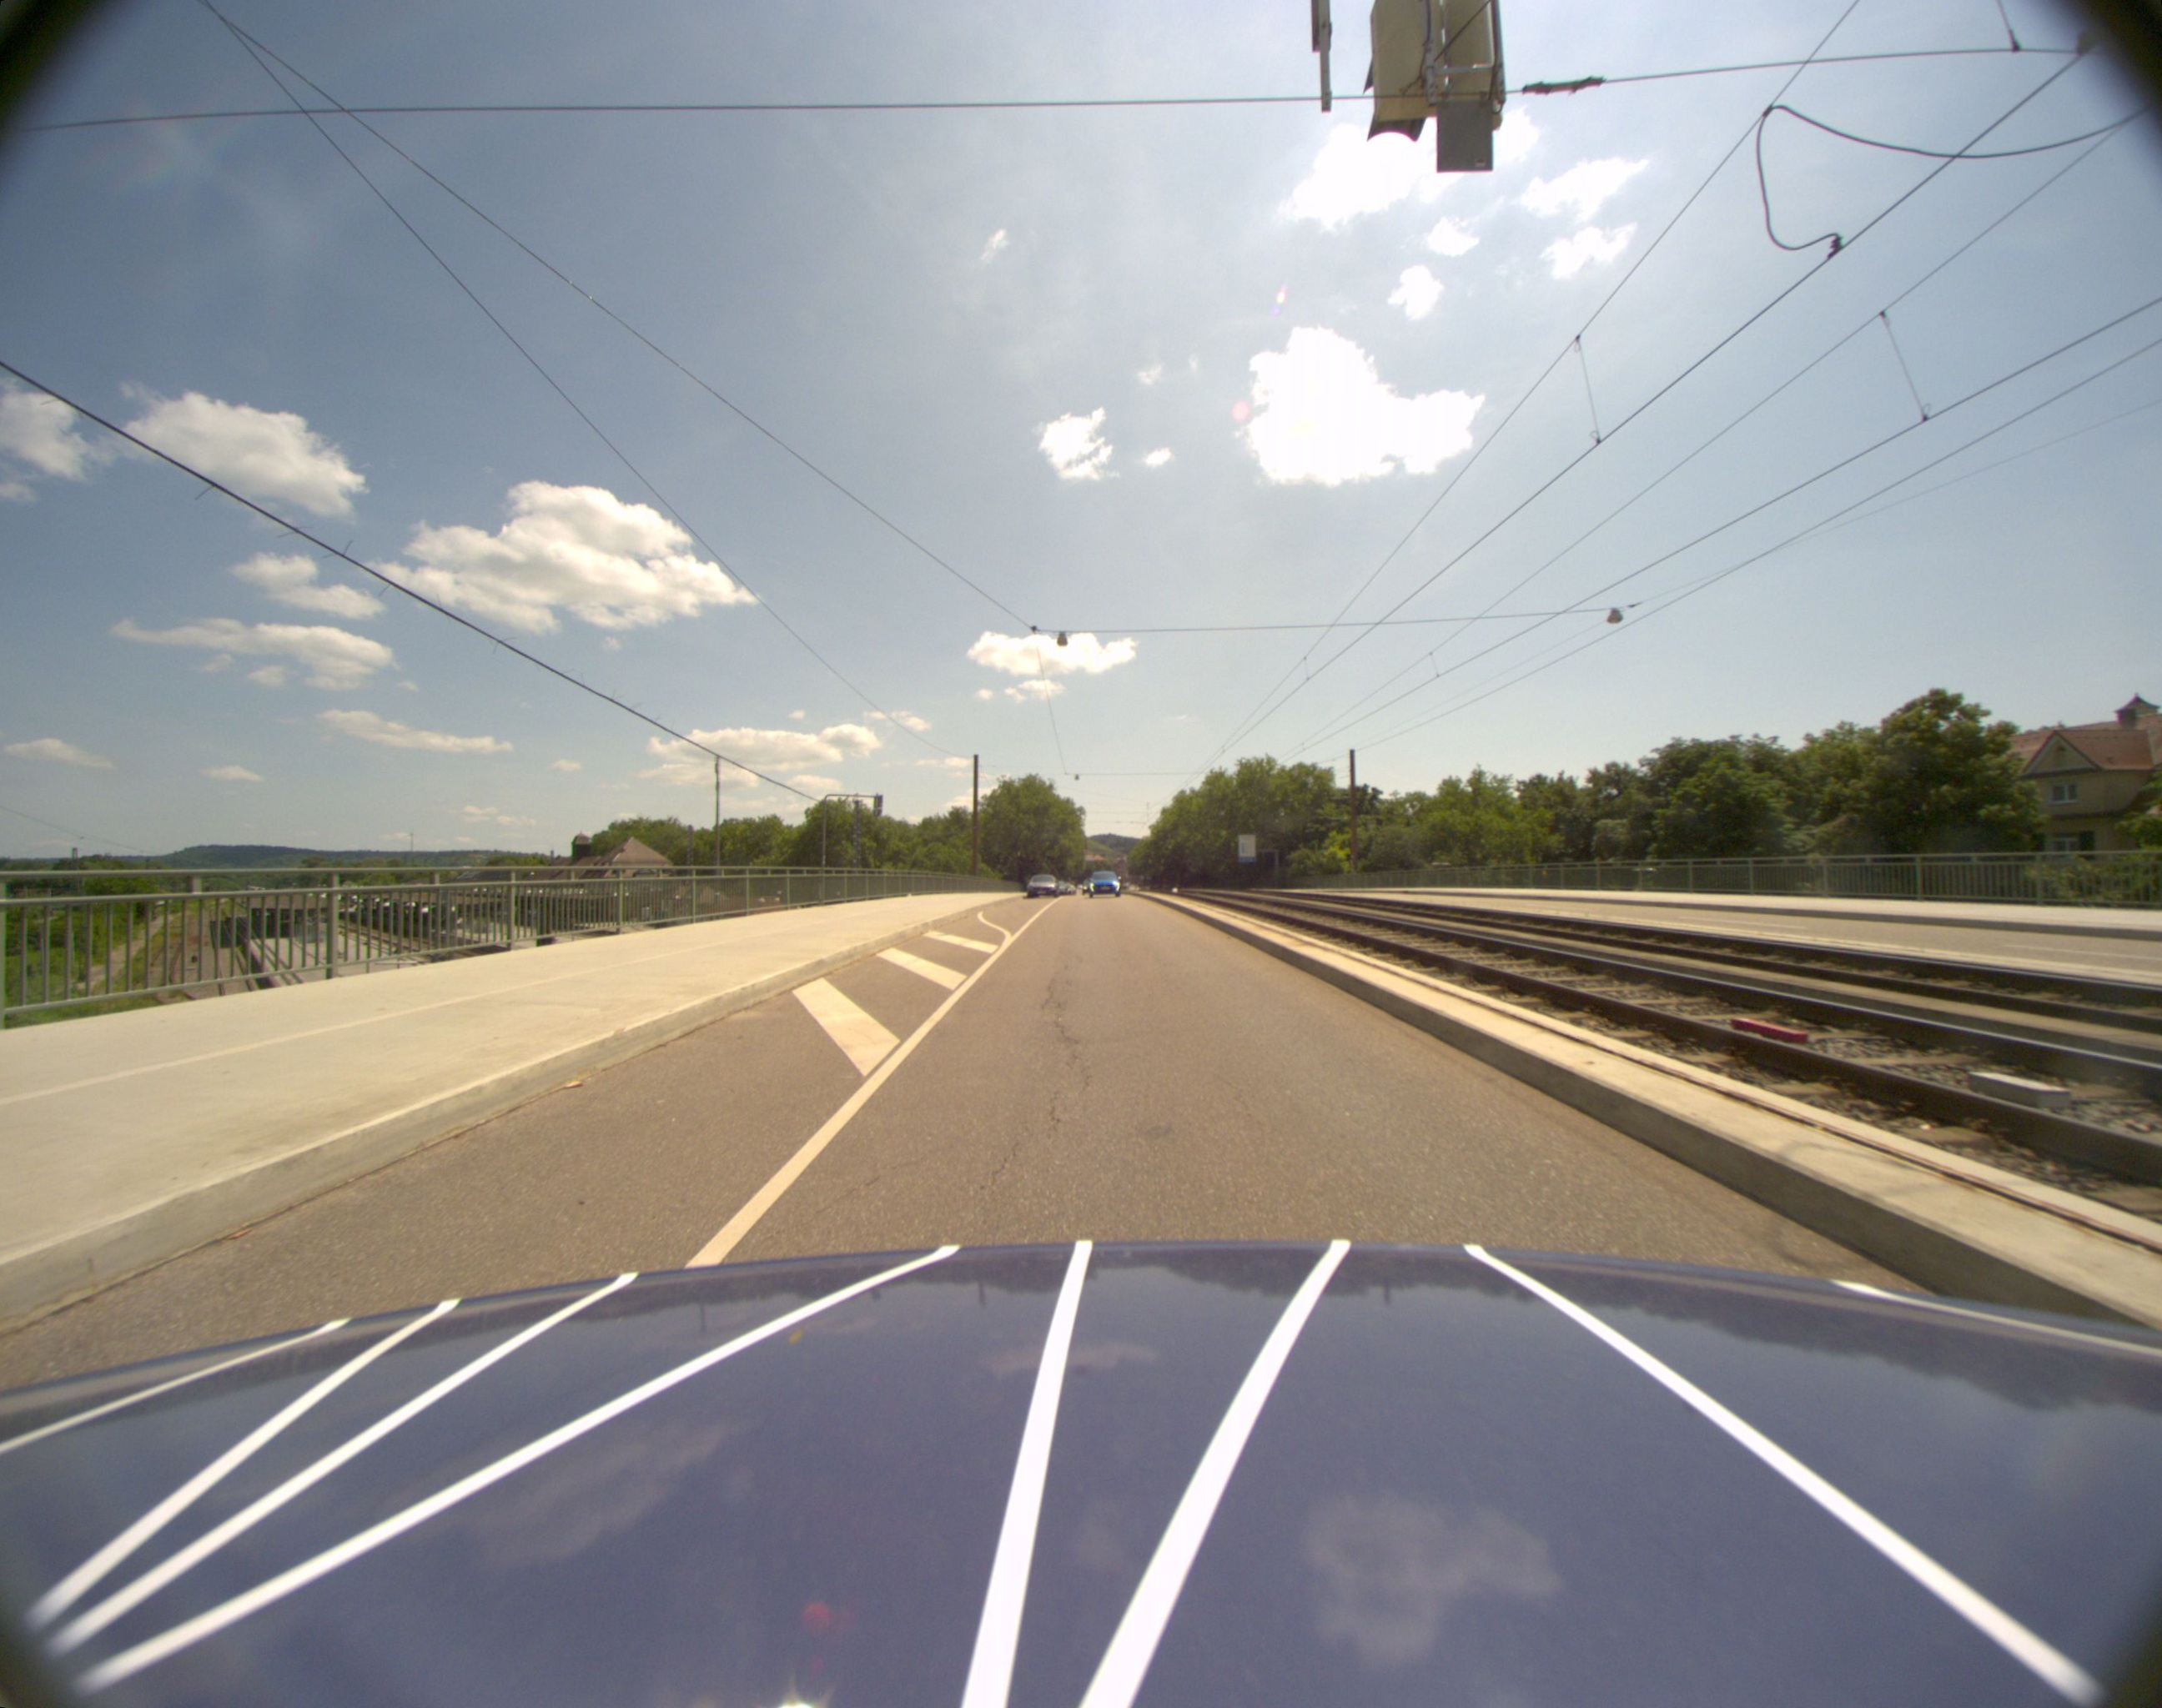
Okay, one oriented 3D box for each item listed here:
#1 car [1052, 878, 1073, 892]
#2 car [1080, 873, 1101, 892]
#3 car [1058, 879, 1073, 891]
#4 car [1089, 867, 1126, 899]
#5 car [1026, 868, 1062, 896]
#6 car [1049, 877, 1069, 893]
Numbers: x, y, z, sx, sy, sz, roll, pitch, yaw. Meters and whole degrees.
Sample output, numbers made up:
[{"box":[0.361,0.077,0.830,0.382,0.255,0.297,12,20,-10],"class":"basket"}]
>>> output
[{"box":[-2.118,3.519,86.838,1.998,1.431,4.002,-2,-2,3],"class":"car"},{"box":[0.992,2.893,76.351,1.797,1.725,3.770,-3,-3,3],"class":"car"},{"box":[-1.881,3.822,92.342,1.759,1.381,3.701,-1,-2,0],"class":"car"},{"box":[1.419,1.589,42.043,1.865,1.630,4.001,-2,-2,1],"class":"car"},{"box":[-2.232,1.756,47.080,1.999,1.542,4.723,-2,-3,-1],"class":"car"},{"box":[-2.020,2.857,69.600,1.689,1.350,4.594,-2,-3,-1],"class":"car"}]
